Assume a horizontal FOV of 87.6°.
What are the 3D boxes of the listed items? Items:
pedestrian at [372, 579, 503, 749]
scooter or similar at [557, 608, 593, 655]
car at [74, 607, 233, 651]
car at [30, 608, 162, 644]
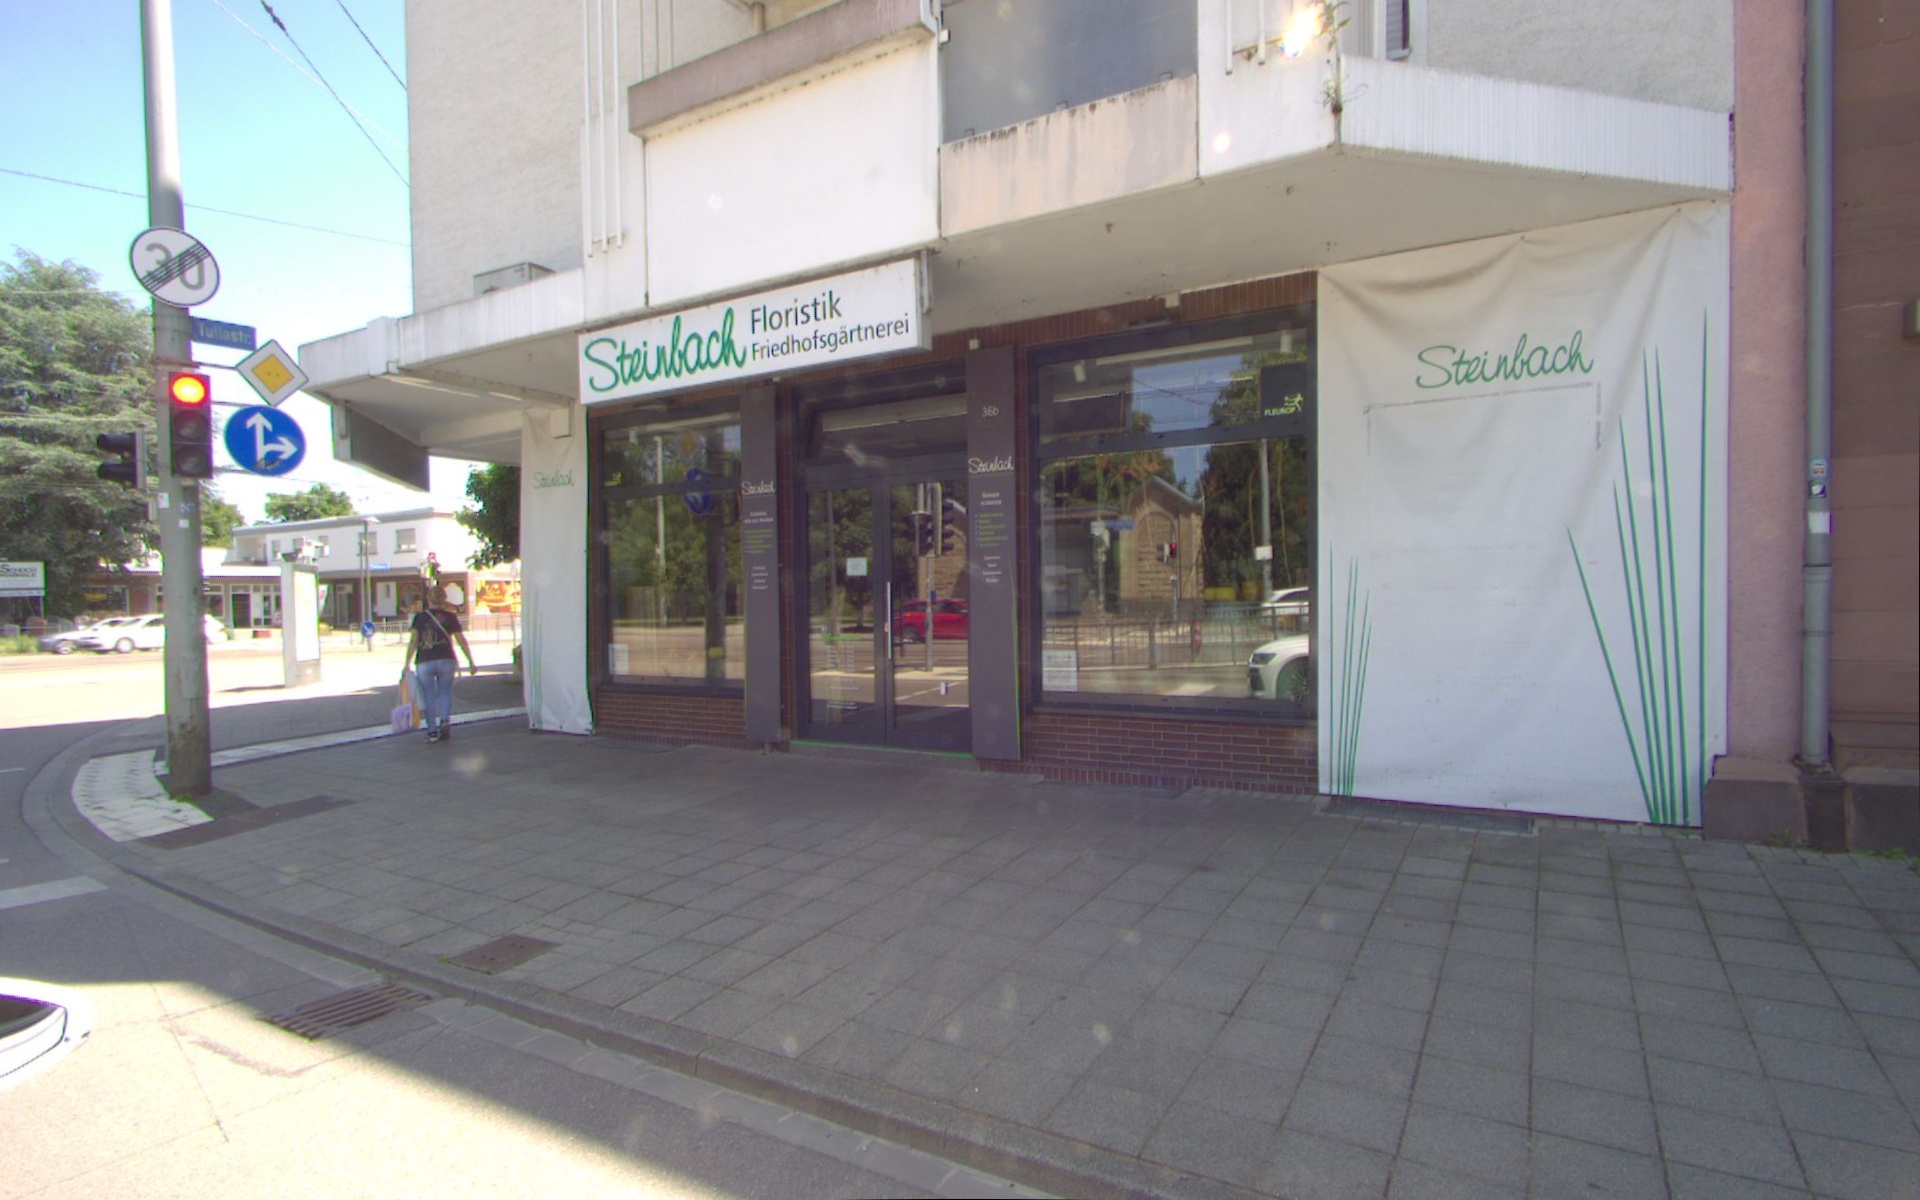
[{"bbox_3d":[-5.343,0.619,10.260,0.816,1.606,0.822,0,4,38],"label":"pedestrian"},{"bbox_3d":[-10.491,0.848,27.334,0.387,1.229,1.255,0,0,5],"label":"scooter or similar"},{"bbox_3d":[-31.491,1.078,39.254,1.795,1.510,4.481,-1,1,26],"label":"car"},{"bbox_3d":[-35.112,1.042,40.777,1.620,1.369,3.817,0,0,35],"label":"car"}]
